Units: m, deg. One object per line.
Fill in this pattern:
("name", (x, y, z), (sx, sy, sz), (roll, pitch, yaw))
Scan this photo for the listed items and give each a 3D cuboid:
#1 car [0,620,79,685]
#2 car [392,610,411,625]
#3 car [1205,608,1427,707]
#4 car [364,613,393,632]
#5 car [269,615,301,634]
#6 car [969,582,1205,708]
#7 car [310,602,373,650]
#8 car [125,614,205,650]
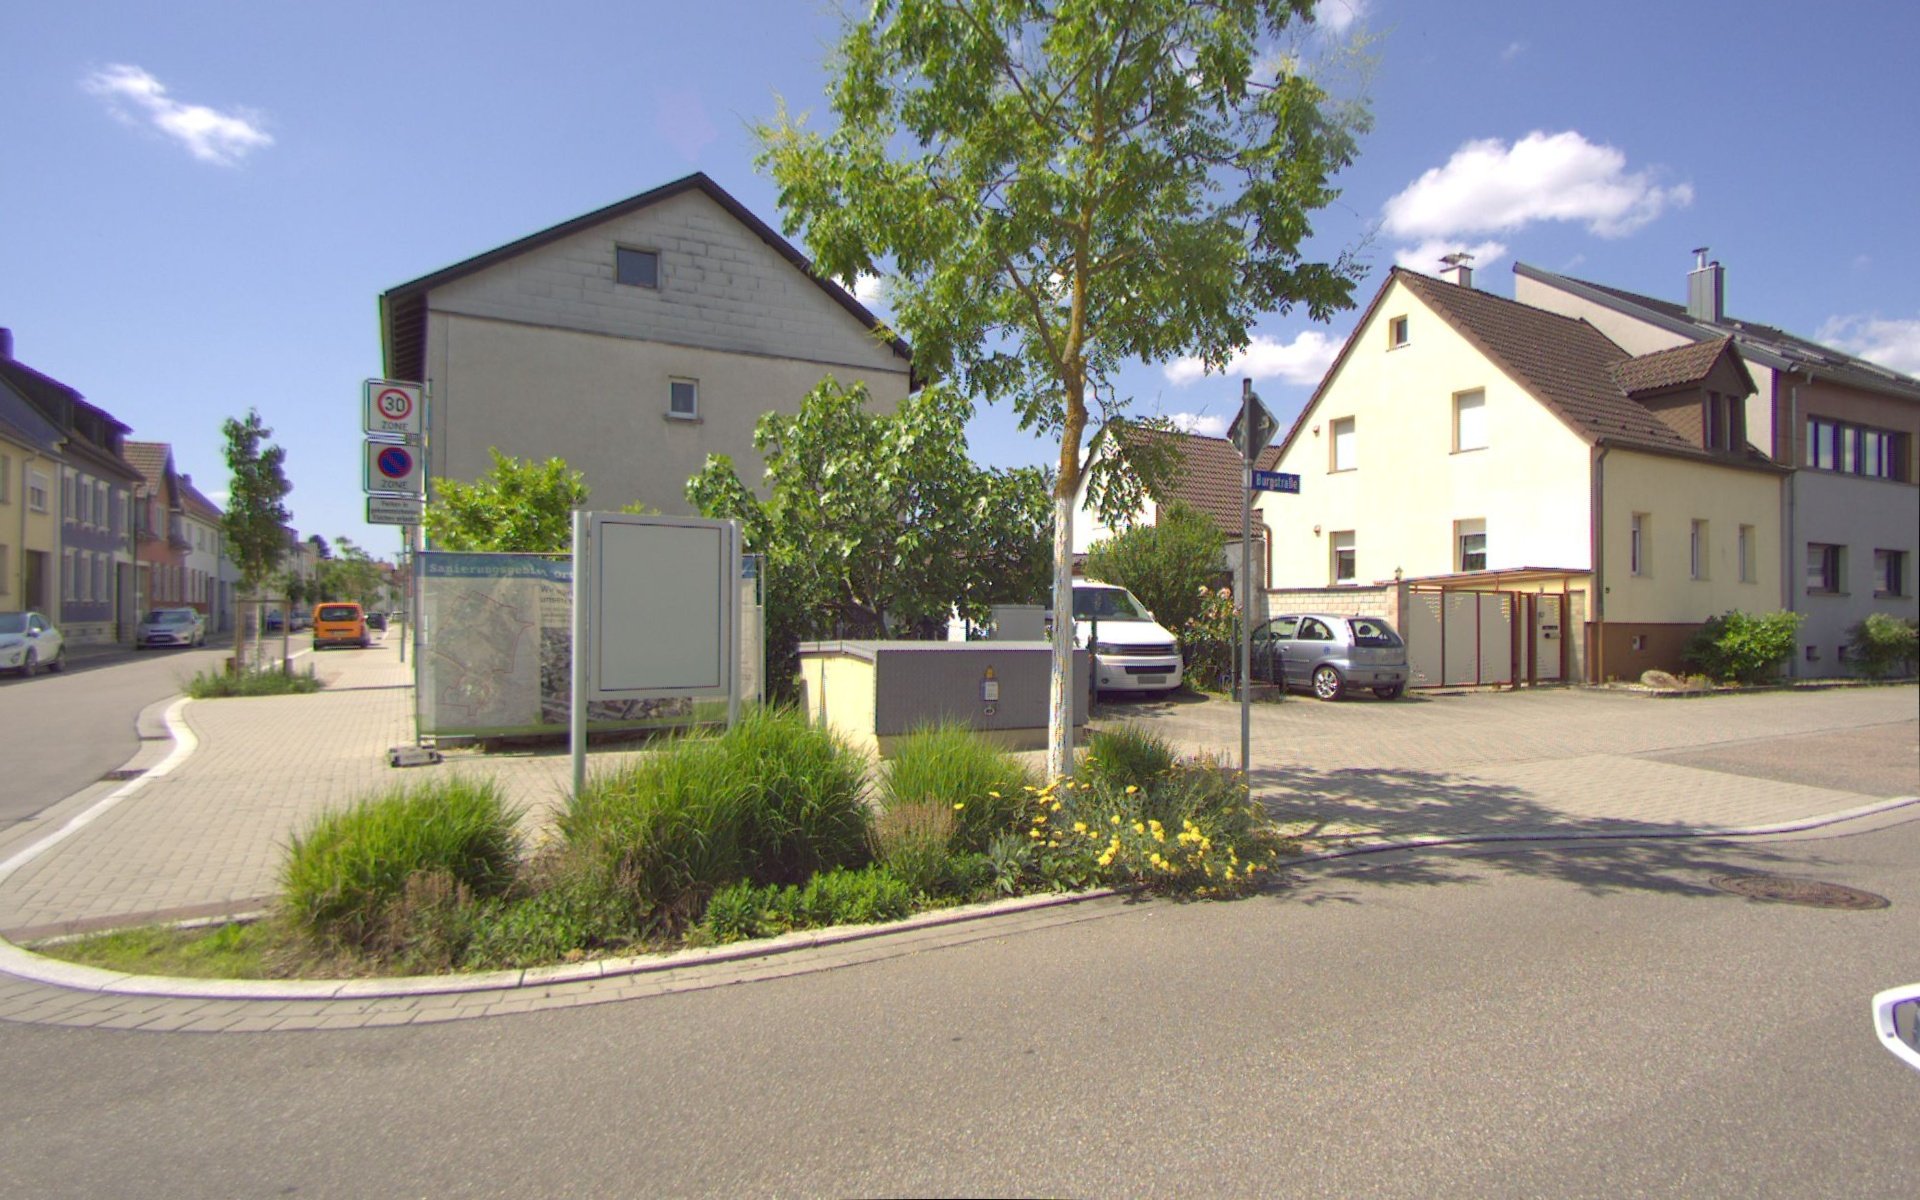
("car", (-22.135, 1.179, 23.181), (1.868, 1.320, 3.970), (0, 0, -29))
("car", (-74.734, 2.286, 134.444), (1.975, 1.846, 3.971), (2, 0, -27))
("car", (6.230, 0.933, 17.949), (1.768, 1.490, 3.513), (1, 1, -26))
("car", (-45.656, 1.760, 78.926), (1.868, 1.384, 3.970), (-1, 1, -29))
("car", (-50.624, 1.817, 75.378), (1.639, 1.320, 4.120), (0, 0, -29))
("car", (1.982, 0.641, 16.902), (1.976, 1.824, 3.969), (1, 1, -29))
("car", (-24.453, 0.961, 39.797), (1.868, 1.752, 3.970), (-1, 1, -29))
("car", (-32.295, 1.279, 40.926), (1.868, 1.320, 3.970), (0, 0, -29))
